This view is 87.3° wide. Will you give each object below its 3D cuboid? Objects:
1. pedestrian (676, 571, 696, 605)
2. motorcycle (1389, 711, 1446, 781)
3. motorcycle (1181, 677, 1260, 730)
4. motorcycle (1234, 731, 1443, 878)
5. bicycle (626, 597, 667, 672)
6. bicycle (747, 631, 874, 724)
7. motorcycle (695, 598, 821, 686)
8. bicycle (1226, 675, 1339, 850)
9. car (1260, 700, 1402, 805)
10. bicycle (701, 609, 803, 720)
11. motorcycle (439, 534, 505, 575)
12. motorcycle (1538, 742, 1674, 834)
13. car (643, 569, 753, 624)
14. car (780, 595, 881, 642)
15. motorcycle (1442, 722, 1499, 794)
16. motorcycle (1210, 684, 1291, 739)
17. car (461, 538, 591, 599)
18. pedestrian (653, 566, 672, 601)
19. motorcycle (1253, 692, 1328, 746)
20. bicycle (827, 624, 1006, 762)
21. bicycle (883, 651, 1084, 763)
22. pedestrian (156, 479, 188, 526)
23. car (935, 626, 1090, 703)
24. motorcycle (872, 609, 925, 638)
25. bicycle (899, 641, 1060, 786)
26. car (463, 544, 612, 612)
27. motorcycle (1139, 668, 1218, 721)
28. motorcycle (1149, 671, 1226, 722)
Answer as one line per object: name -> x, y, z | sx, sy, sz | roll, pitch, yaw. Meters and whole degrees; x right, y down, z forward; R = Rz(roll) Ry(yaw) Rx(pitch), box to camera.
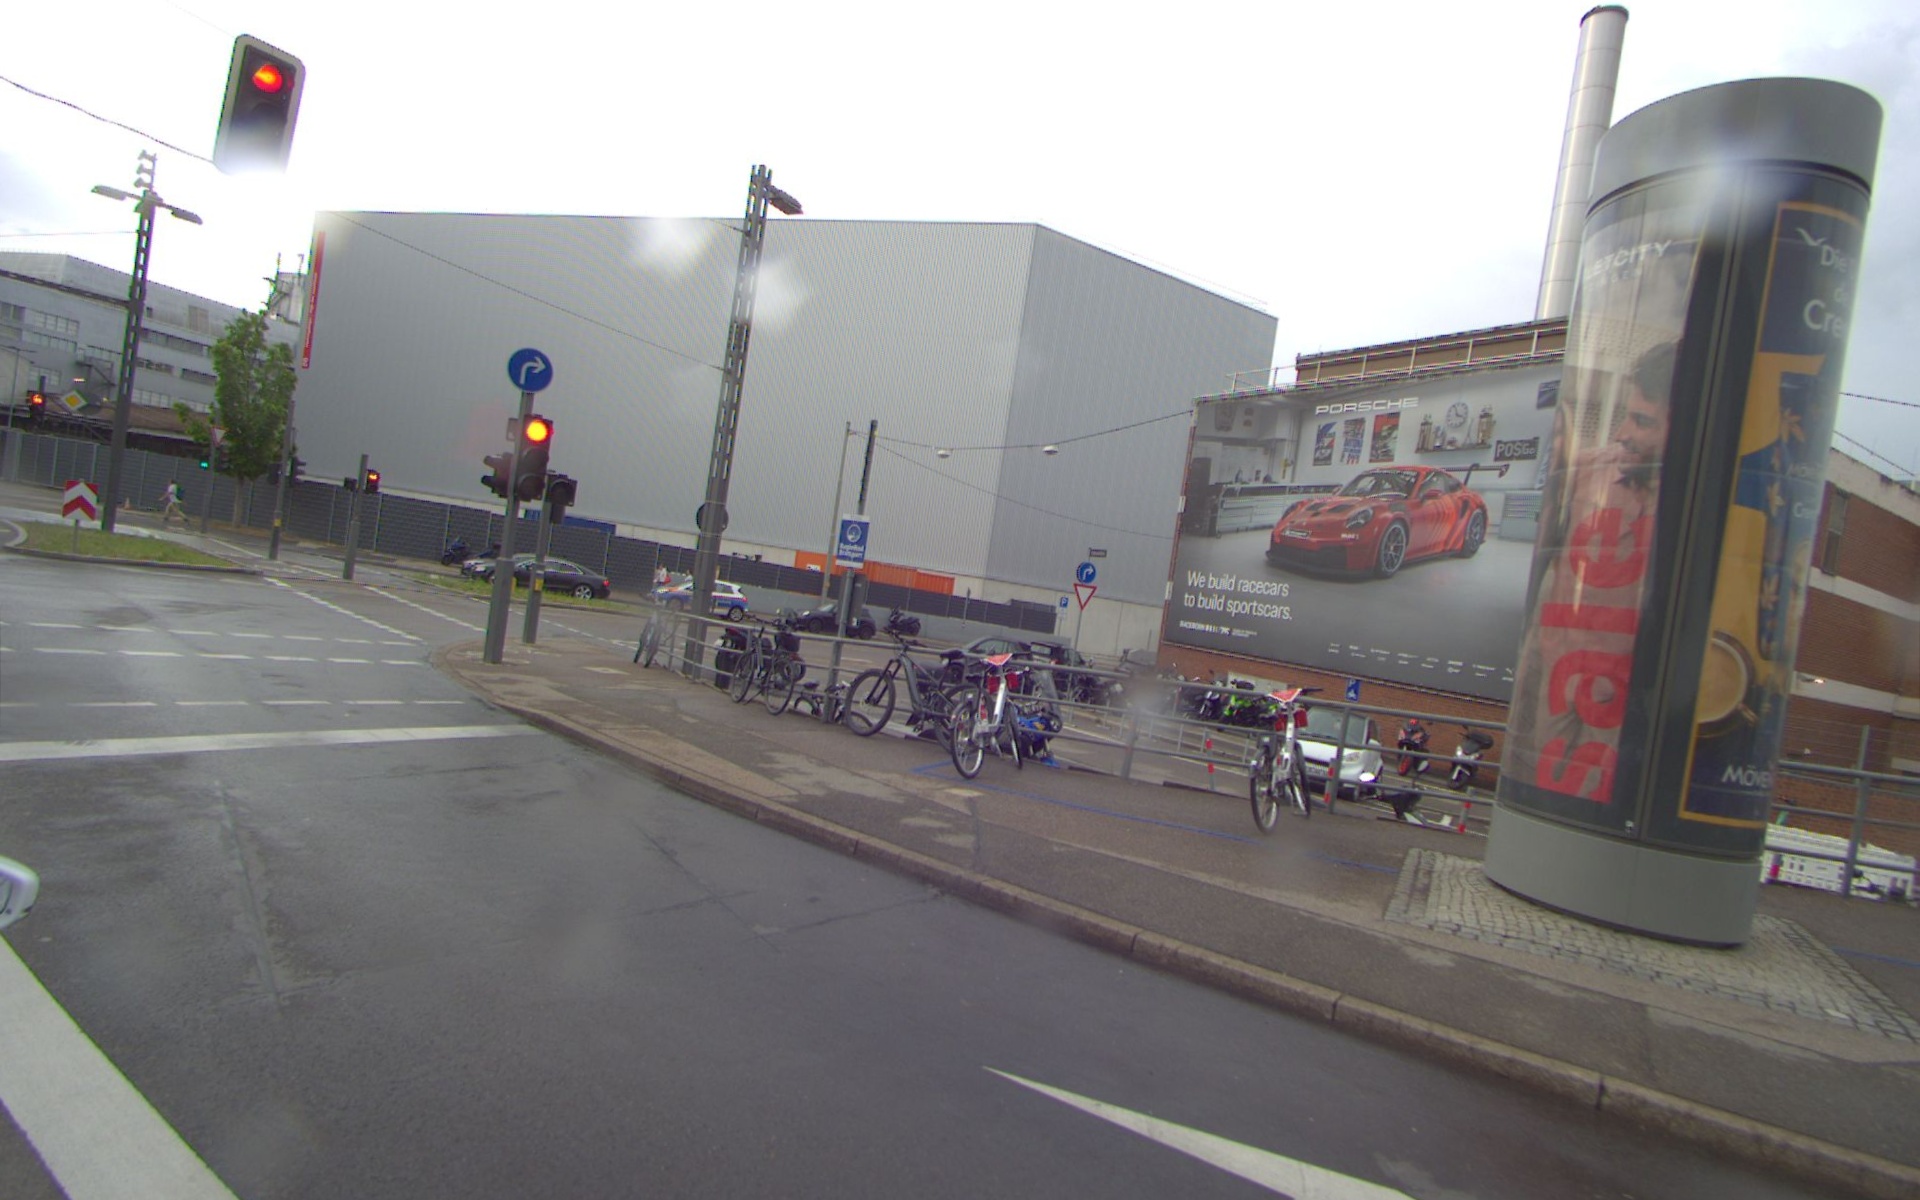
pedestrian -> -12.484, -0.548, 45.867 | 0.642, 1.499, 0.436 | 7, 0, -24
motorcycle -> 10.439, 3.297, 22.921 | 0.677, 1.327, 2.015 | 10, 3, 34
motorcycle -> 6.975, 2.773, 26.920 | 1.998, 1.206, 0.605 | 6, 3, -28
motorcycle -> 3.646, 1.939, 9.765 | 1.718, 1.002, 0.699 | 8, 1, 22
bicycle -> -5.356, 0.563, 17.138 | 0.381, 1.111, 1.740 | 6, 0, -23
bicycle -> -1.890, 0.942, 12.547 | 0.530, 0.916, 1.790 | 7, -1, -45
motorcycle -> -3.873, 0.838, 19.463 | 0.746, 1.470, 2.224 | 8, 0, 44
bicycle -> 2.706, 1.264, 8.324 | 0.581, 1.176, 1.804 | 6, 0, 24
car -> 7.245, 2.843, 19.440 | 1.665, 1.500, 3.553 | 10, 1, 33
bicycle -> -2.570, 0.756, 12.295 | 0.383, 1.133, 1.732 | 6, 0, -38
motorcycle -> -20.411, -1.881, 42.089 | 2.334, 1.360, 0.648 | 8, 0, -29
motorcycle -> 12.941, 3.731, 20.205 | 0.922, 1.327, 1.962 | 5, 4, -40
car -> -10.815, -0.152, 41.482 | 3.937, 1.620, 1.898 | 9, -1, -27
car -> -5.701, 0.830, 44.312 | 3.956, 1.409, 1.745 | 10, 0, -27
motorcycle -> 11.164, 3.424, 21.989 | 0.565, 1.327, 1.862 | 10, 4, 39
motorcycle -> 7.477, 2.875, 25.846 | 1.998, 1.206, 0.605 | 6, 3, -28
car -> -16.304, -1.181, 37.841 | 4.251, 1.558, 1.745 | 10, 0, -27
pedestrian -> -13.528, -0.737, 45.734 | 0.605, 1.499, 0.421 | 7, 1, -21
motorcycle -> 8.255, 2.973, 25.073 | 2.004, 1.206, 0.603 | 6, 4, -37
bicycle -> -0.495, 0.943, 10.638 | 1.970, 1.176, 0.385 | 6, 0, 36
bicycle -> 0.235, 1.166, 11.304 | 2.139, 0.916, 0.693 | 6, -1, 33
pedestrian -> -30.146, -3.718, 38.478 | 0.804, 1.630, 0.761 | 6, 0, -40
car -> 1.417, 1.802, 28.453 | 4.090, 1.547, 1.836 | 8, -2, -2
motorcycle -> -3.220, 1.233, 52.723 | 2.469, 1.201, 0.991 | 8, 0, -33
bicycle -> 0.232, 1.022, 9.408 | 0.666, 1.154, 1.773 | 6, -1, 28
car -> -14.655, -0.757, 34.920 | 4.534, 1.558, 1.745 | 10, 0, -27
motorcycle -> 6.285, 2.715, 28.975 | 1.986, 1.206, 0.608 | 8, 3, -3
motorcycle -> 6.305, 2.681, 27.912 | 1.997, 1.206, 0.605 | 6, 3, -25
